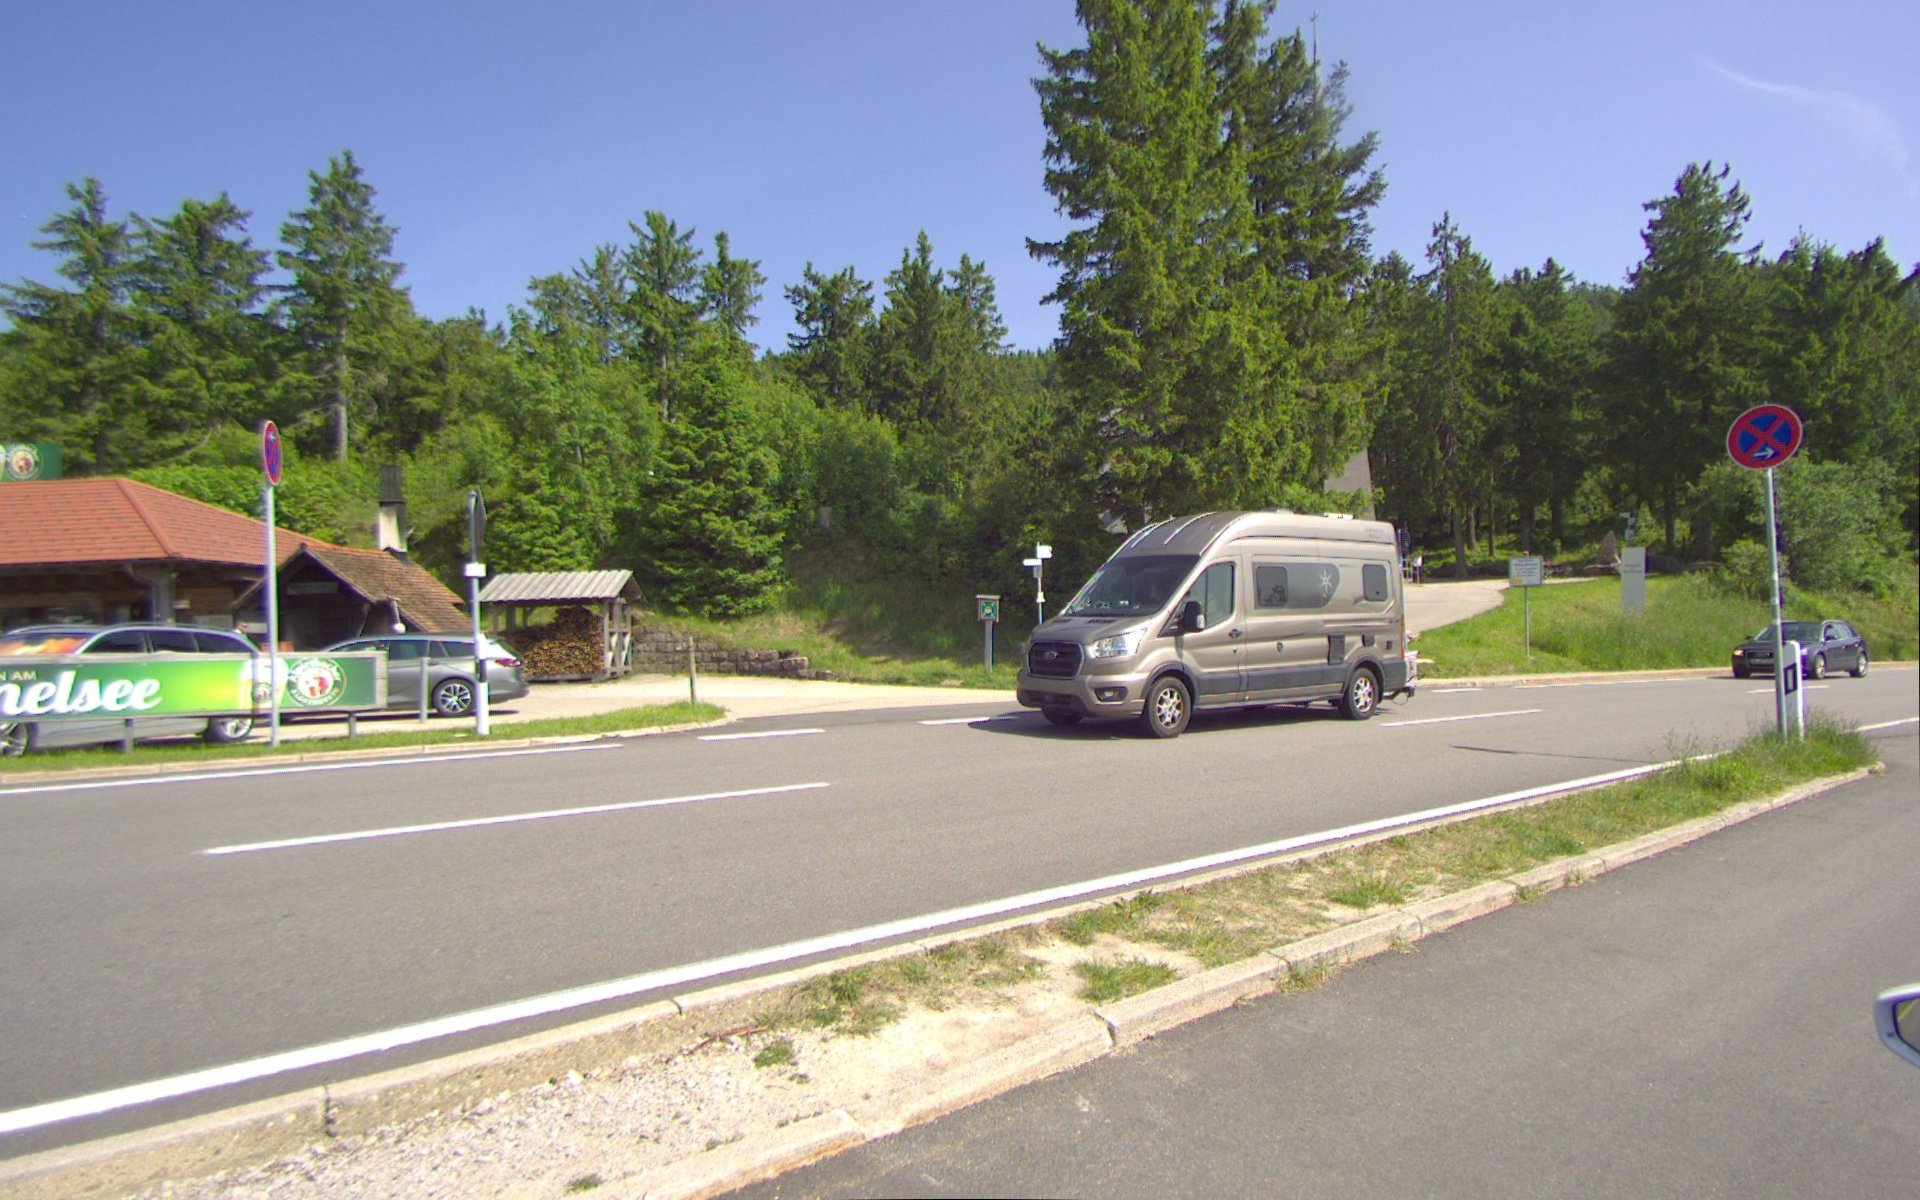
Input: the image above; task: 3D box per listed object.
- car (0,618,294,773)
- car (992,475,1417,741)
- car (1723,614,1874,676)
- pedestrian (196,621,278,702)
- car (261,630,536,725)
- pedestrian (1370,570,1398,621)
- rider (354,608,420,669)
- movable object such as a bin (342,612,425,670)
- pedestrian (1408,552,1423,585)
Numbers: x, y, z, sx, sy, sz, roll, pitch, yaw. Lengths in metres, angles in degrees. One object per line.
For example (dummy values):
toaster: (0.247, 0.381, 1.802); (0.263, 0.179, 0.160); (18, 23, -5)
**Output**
car: (-9.754, 0.967, 10.979); (1.687, 1.449, 4.506); (-1, -2, 5)
car: (3.346, 0.143, 13.041); (5.858, 2.787, 1.998); (1, -2, -35)
car: (21.379, 1.114, 25.571); (4.401, 1.457, 1.697); (1, -2, -33)
pedestrian: (-16.001, 1.345, 22.272); (1.141, 1.721, 0.977); (0, -2, -10)
car: (-9.481, 1.273, 17.302); (3.947, 1.449, 1.711); (0, -2, -26)
pedestrian: (14.492, -0.140, 34.348); (0.711, 1.703, 0.680); (-2, -2, 38)
rider: (-12.330, 0.827, 21.636); (0.891, 1.291, 0.840); (-1, -1, 14)
movable object such as a bin: (-12.414, 0.882, 21.651); (1.192, 1.204, 0.984); (-1, -1, 14)
pedestrian: (27.174, -1.879, 59.915); (0.531, 1.902, 0.683); (0, -1, 0)
